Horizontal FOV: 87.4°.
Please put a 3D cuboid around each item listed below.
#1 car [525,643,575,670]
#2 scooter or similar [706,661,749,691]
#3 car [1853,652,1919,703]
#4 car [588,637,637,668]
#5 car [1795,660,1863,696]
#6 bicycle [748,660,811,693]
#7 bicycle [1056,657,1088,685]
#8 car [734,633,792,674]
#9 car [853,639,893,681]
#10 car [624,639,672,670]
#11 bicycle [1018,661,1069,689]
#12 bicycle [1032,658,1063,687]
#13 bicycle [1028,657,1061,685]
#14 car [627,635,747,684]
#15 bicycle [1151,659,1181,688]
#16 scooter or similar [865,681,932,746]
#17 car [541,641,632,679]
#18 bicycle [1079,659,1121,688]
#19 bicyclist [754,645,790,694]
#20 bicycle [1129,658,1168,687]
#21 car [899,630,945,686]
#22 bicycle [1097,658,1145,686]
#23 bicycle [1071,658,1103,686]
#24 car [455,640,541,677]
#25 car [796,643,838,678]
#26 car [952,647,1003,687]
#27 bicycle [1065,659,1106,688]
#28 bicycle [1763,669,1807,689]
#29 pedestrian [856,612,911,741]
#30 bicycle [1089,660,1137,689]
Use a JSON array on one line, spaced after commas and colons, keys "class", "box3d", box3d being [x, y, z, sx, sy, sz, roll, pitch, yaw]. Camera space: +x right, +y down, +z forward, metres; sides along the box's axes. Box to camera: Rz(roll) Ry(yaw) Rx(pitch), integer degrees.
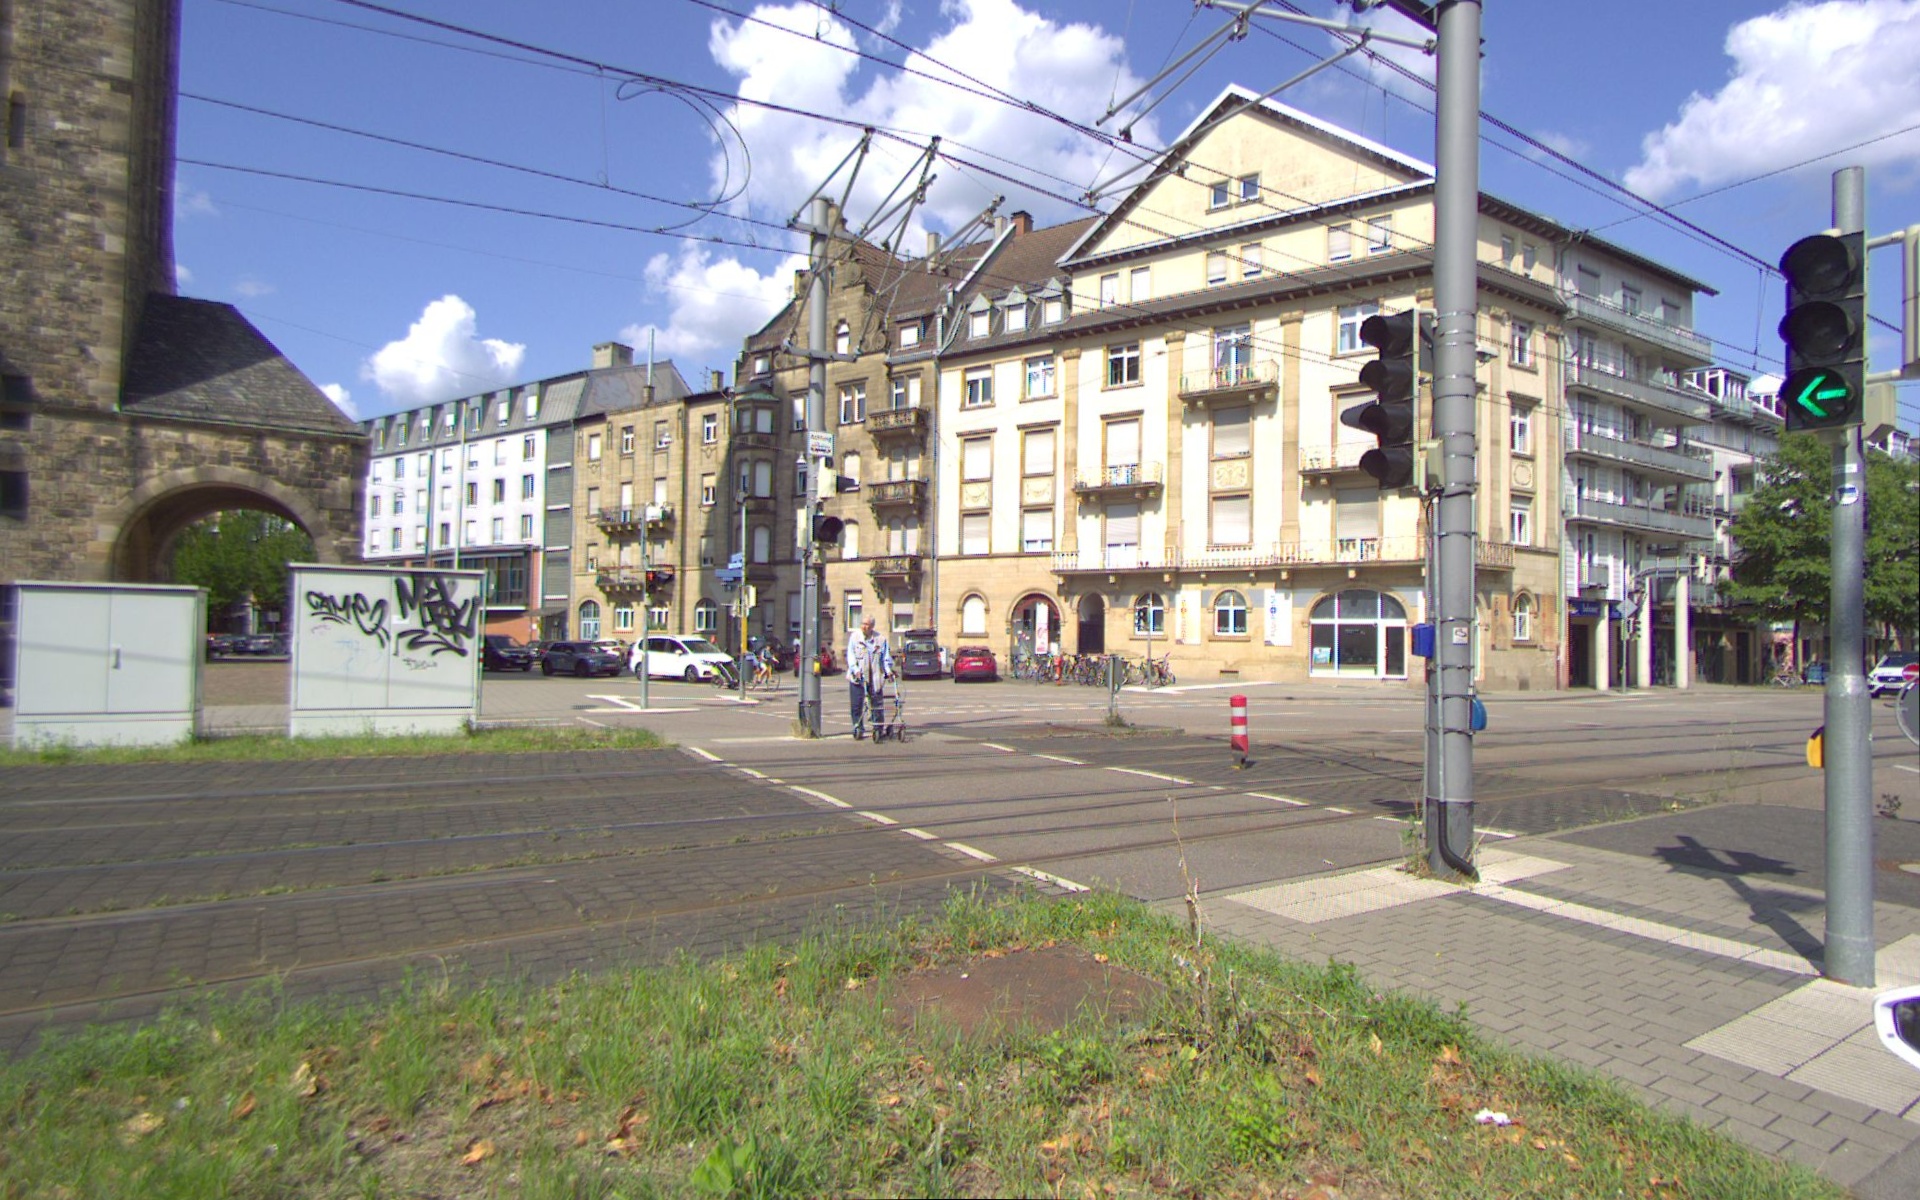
[{"class": "car", "box3d": [-24.041, 3.292, 59.038, 1.575, 1.415, 3.572, 0, -1, -2]}, {"class": "scooter or similar", "box3d": [-7.803, 2.542, 33.725, 1.111, 0.989, 0.889, 0, -3, 30]}, {"class": "car", "box3d": [38.342, 3.104, 40.590, 5.113, 1.916, 1.984, 2, -3, -31]}, {"class": "car", "box3d": [-19.318, 2.906, 56.032, 1.575, 1.520, 3.775, 0, -1, -2]}, {"class": "car", "box3d": [48.938, 4.371, 56.565, 3.957, 1.813, 1.836, 3, 0, -33]}, {"class": "bicycle", "box3d": [-5.949, 2.507, 33.036, 2.096, 1.002, 0.651, -1, -3, 30]}, {"class": "bicycle", "box3d": [4.626, 2.928, 41.402, 0.531, 1.032, 1.923, -1, 0, 33]}, {"class": "car", "box3d": [-9.690, 2.599, 49.757, 1.878, 1.849, 4.001, 0, -1, 3]}, {"class": "car", "box3d": [-3.928, 2.690, 45.845, 1.677, 1.690, 3.999, 0, -1, -2]}, {"class": "car", "box3d": [-16.911, 2.929, 54.539, 1.575, 1.475, 3.775, 0, -1, -2]}, {"class": "bicycle", "box3d": [3.263, 2.904, 39.083, 1.890, 1.032, 0.540, -1, 0, 17]}, {"class": "bicycle", "box3d": [3.549, 2.927, 40.693, 0.530, 1.032, 1.925, -1, 0, 29]}, {"class": "bicycle", "box3d": [3.527, 2.941, 41.779, 0.531, 1.032, 1.923, -1, 0, 33]}, {"class": "car", "box3d": [-10.456, 2.246, 38.374, 4.584, 1.762, 1.810, -1, -3, 33]}, {"class": "bicycle", "box3d": [7.998, 2.841, 38.932, 0.599, 1.032, 1.873, -1, -1, 30]}, {"class": "scooter or similar", "box3d": [-0.842, 1.525, 13.669, 0.548, 0.814, 0.832, 3, -3, -35]}, {"class": "car", "box3d": [-15.513, 2.481, 41.684, 3.672, 1.469, 1.671, -1, -3, 33]}, {"class": "bicycle", "box3d": [5.509, 2.872, 39.451, 1.914, 1.032, 0.533, 0, -1, -43]}, {"class": "bicyclist", "box3d": [-6.213, 2.284, 33.167, 0.905, 1.524, 0.651, 0, 2, 30]}, {"class": "bicycle", "box3d": [7.398, 2.851, 39.427, 0.601, 1.032, 1.866, -1, -1, 42]}, {"class": "car", "box3d": [-1.705, 2.500, 44.448, 1.930, 2.111, 3.998, 0, 2, -2]}, {"class": "bicycle", "box3d": [6.531, 2.903, 40.774, 1.898, 1.032, 0.538, -1, 0, 38]}, {"class": "bicycle", "box3d": [5.205, 2.919, 41.044, 0.531, 1.032, 1.923, -1, 0, 33]}, {"class": "car", "box3d": [-21.148, 2.660, 45.955, 4.003, 1.617, 1.699, -1, -3, 33]}, {"class": "car", "box3d": [-6.787, 2.846, 47.856, 1.881, 1.463, 3.995, 0, -1, -8]}, {"class": "car", "box3d": [0.673, 2.776, 42.466, 1.930, 1.460, 3.999, 0, -1, -2]}, {"class": "bicycle", "box3d": [4.971, 2.901, 39.702, 1.914, 1.032, 0.533, 0, 0, -43]}, {"class": "bicycle", "box3d": [42.901, 4.093, 52.246, 0.492, 0.999, 1.679, 2, -3, -33]}, {"class": "pedestrian", "box3d": [-1.068, 1.054, 14.019, 0.552, 1.755, 0.523, 3, -3, -36]}, {"class": "bicycle", "box3d": [5.914, 2.861, 38.785, 1.855, 1.032, 0.597, 0, -1, -31]}]
